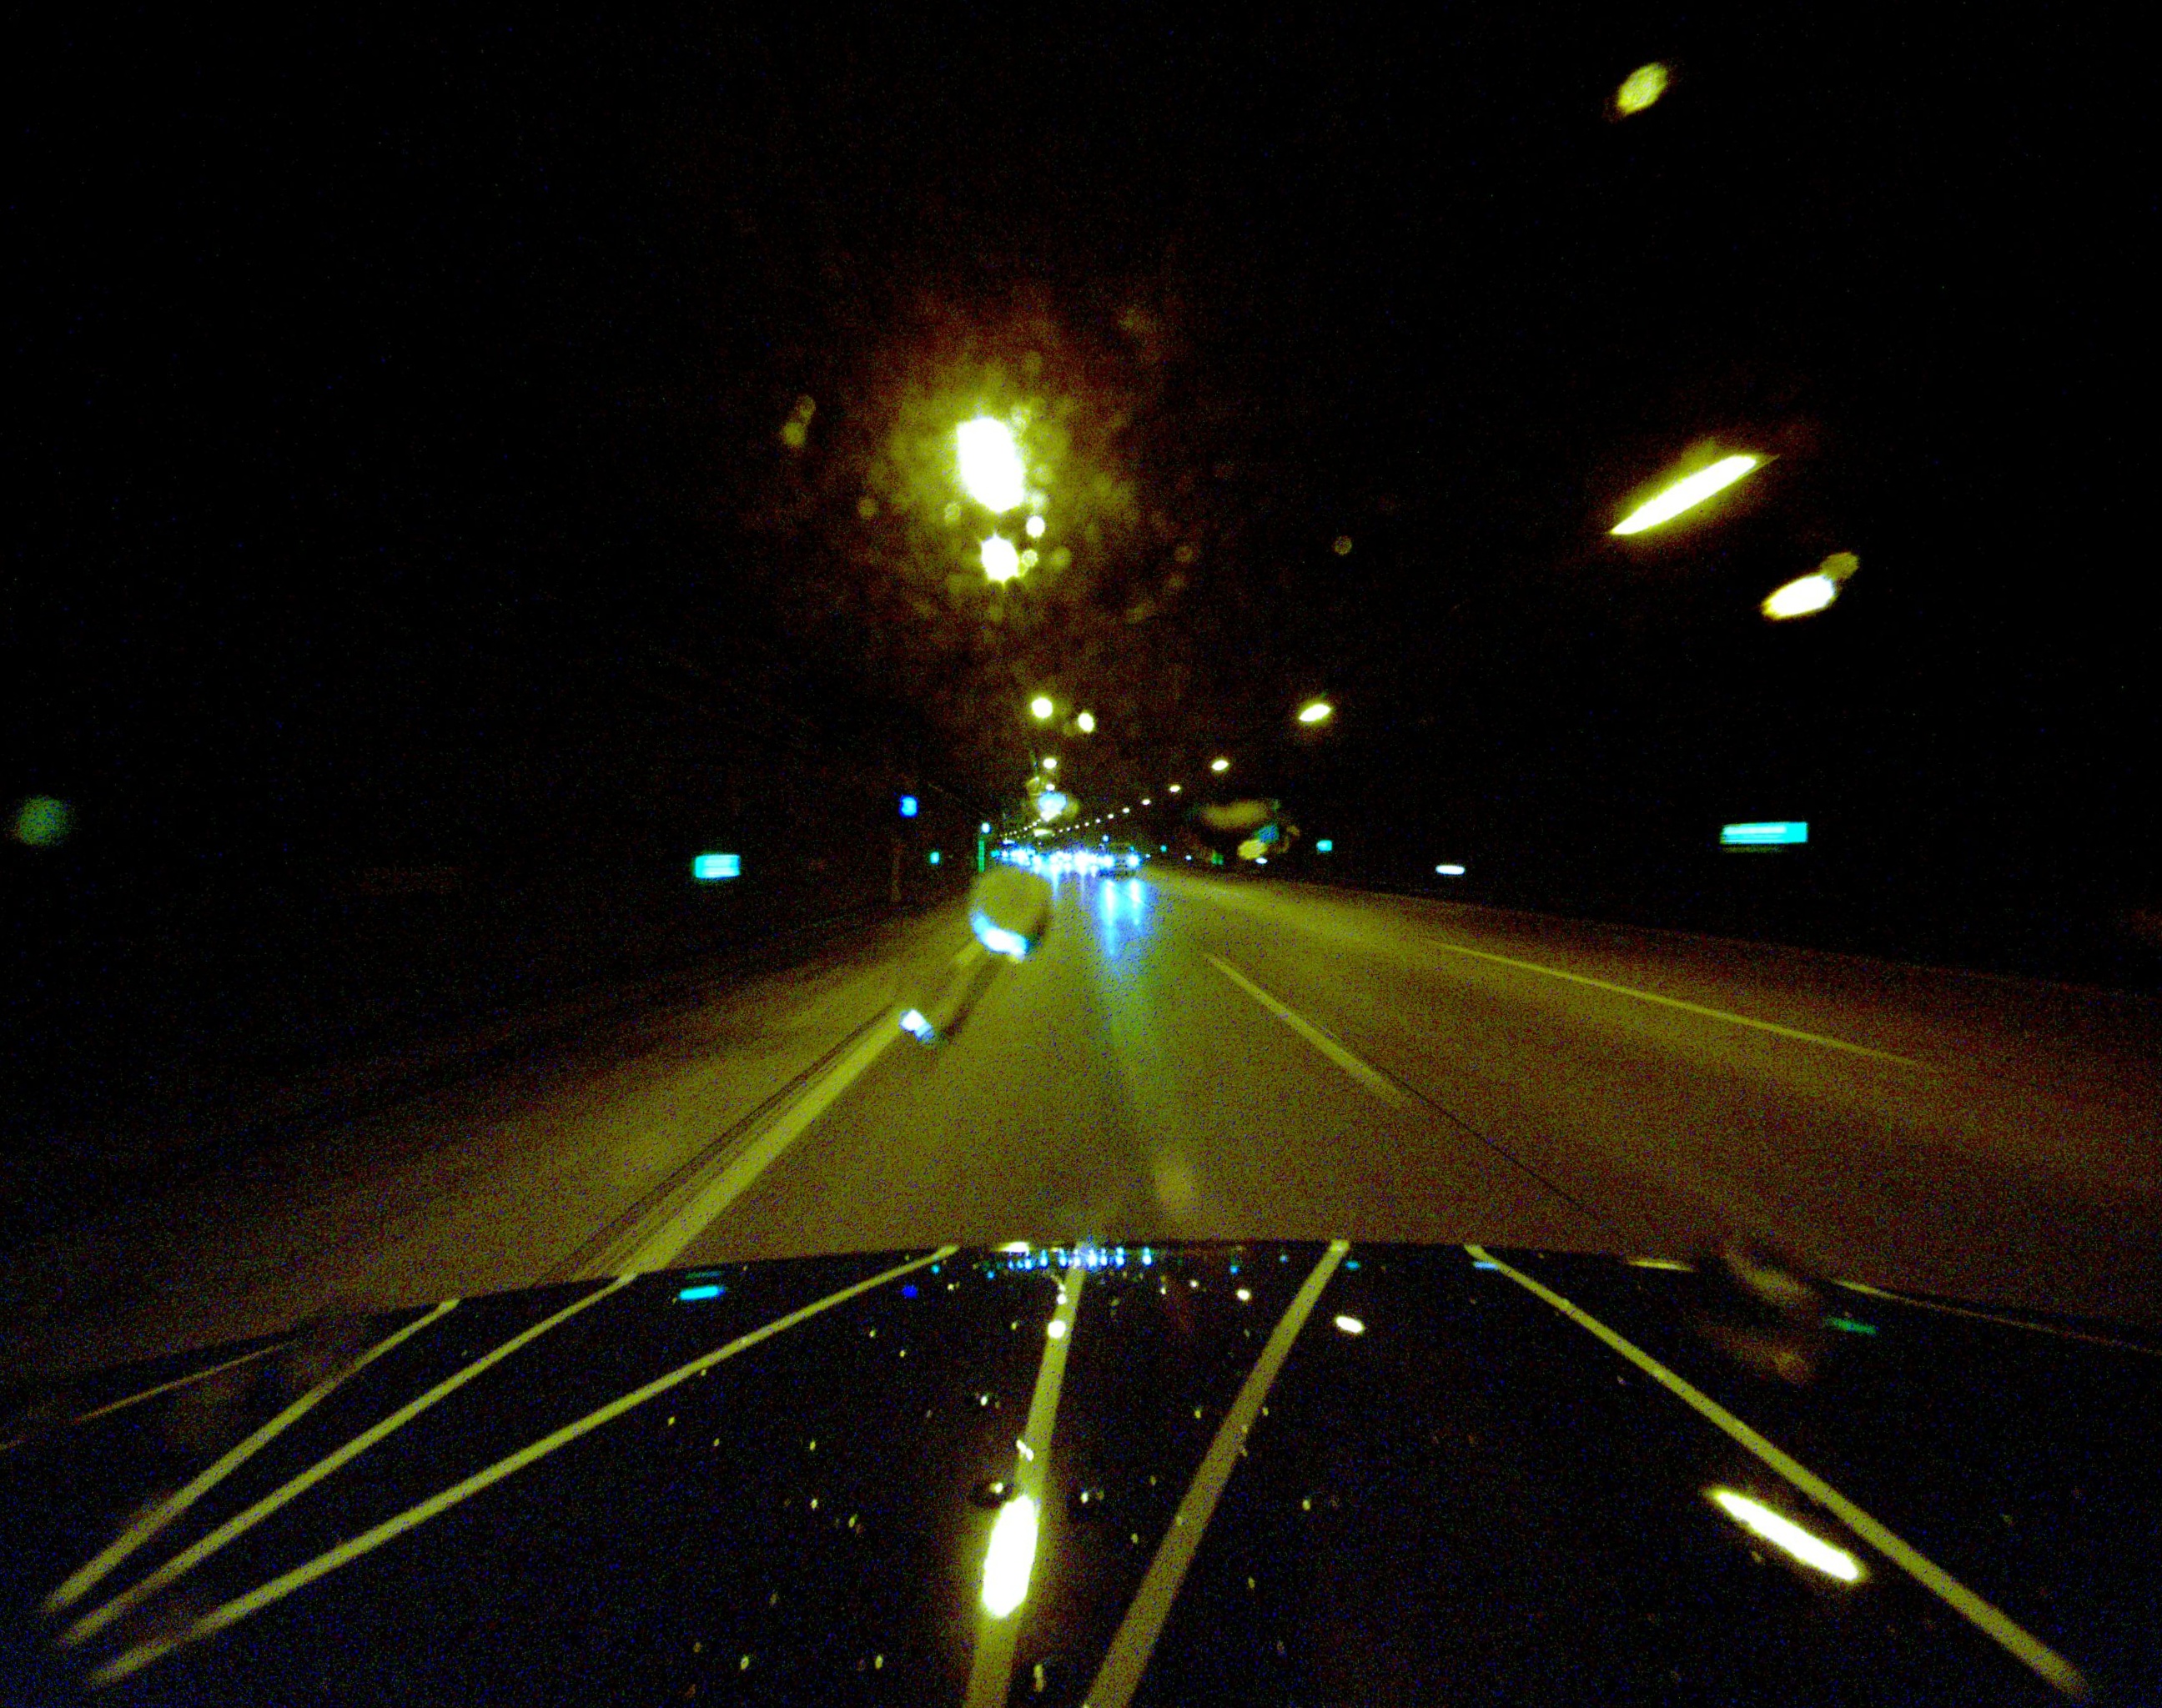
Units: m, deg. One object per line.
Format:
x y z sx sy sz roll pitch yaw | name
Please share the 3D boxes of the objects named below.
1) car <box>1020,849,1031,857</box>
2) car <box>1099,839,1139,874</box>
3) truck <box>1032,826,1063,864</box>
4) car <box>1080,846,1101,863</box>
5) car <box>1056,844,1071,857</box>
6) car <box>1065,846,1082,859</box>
-12.556 -0.171 170.940 2.000 1.729 3.996 -2 1 -9 | car
2.278 0.183 46.780 1.999 2.001 4.360 -1 -1 -2 | car
-3.938 -1.047 87.690 3.143 4.136 7.383 -2 1 -4 | truck
0.928 0.071 76.667 1.910 1.638 3.999 -2 0 -2 | car
-2.838 -0.520 120.411 1.999 2.002 3.998 -2 1 -6 | car
-0.982 -0.157 95.217 1.759 1.567 3.998 -2 0 -5 | car
